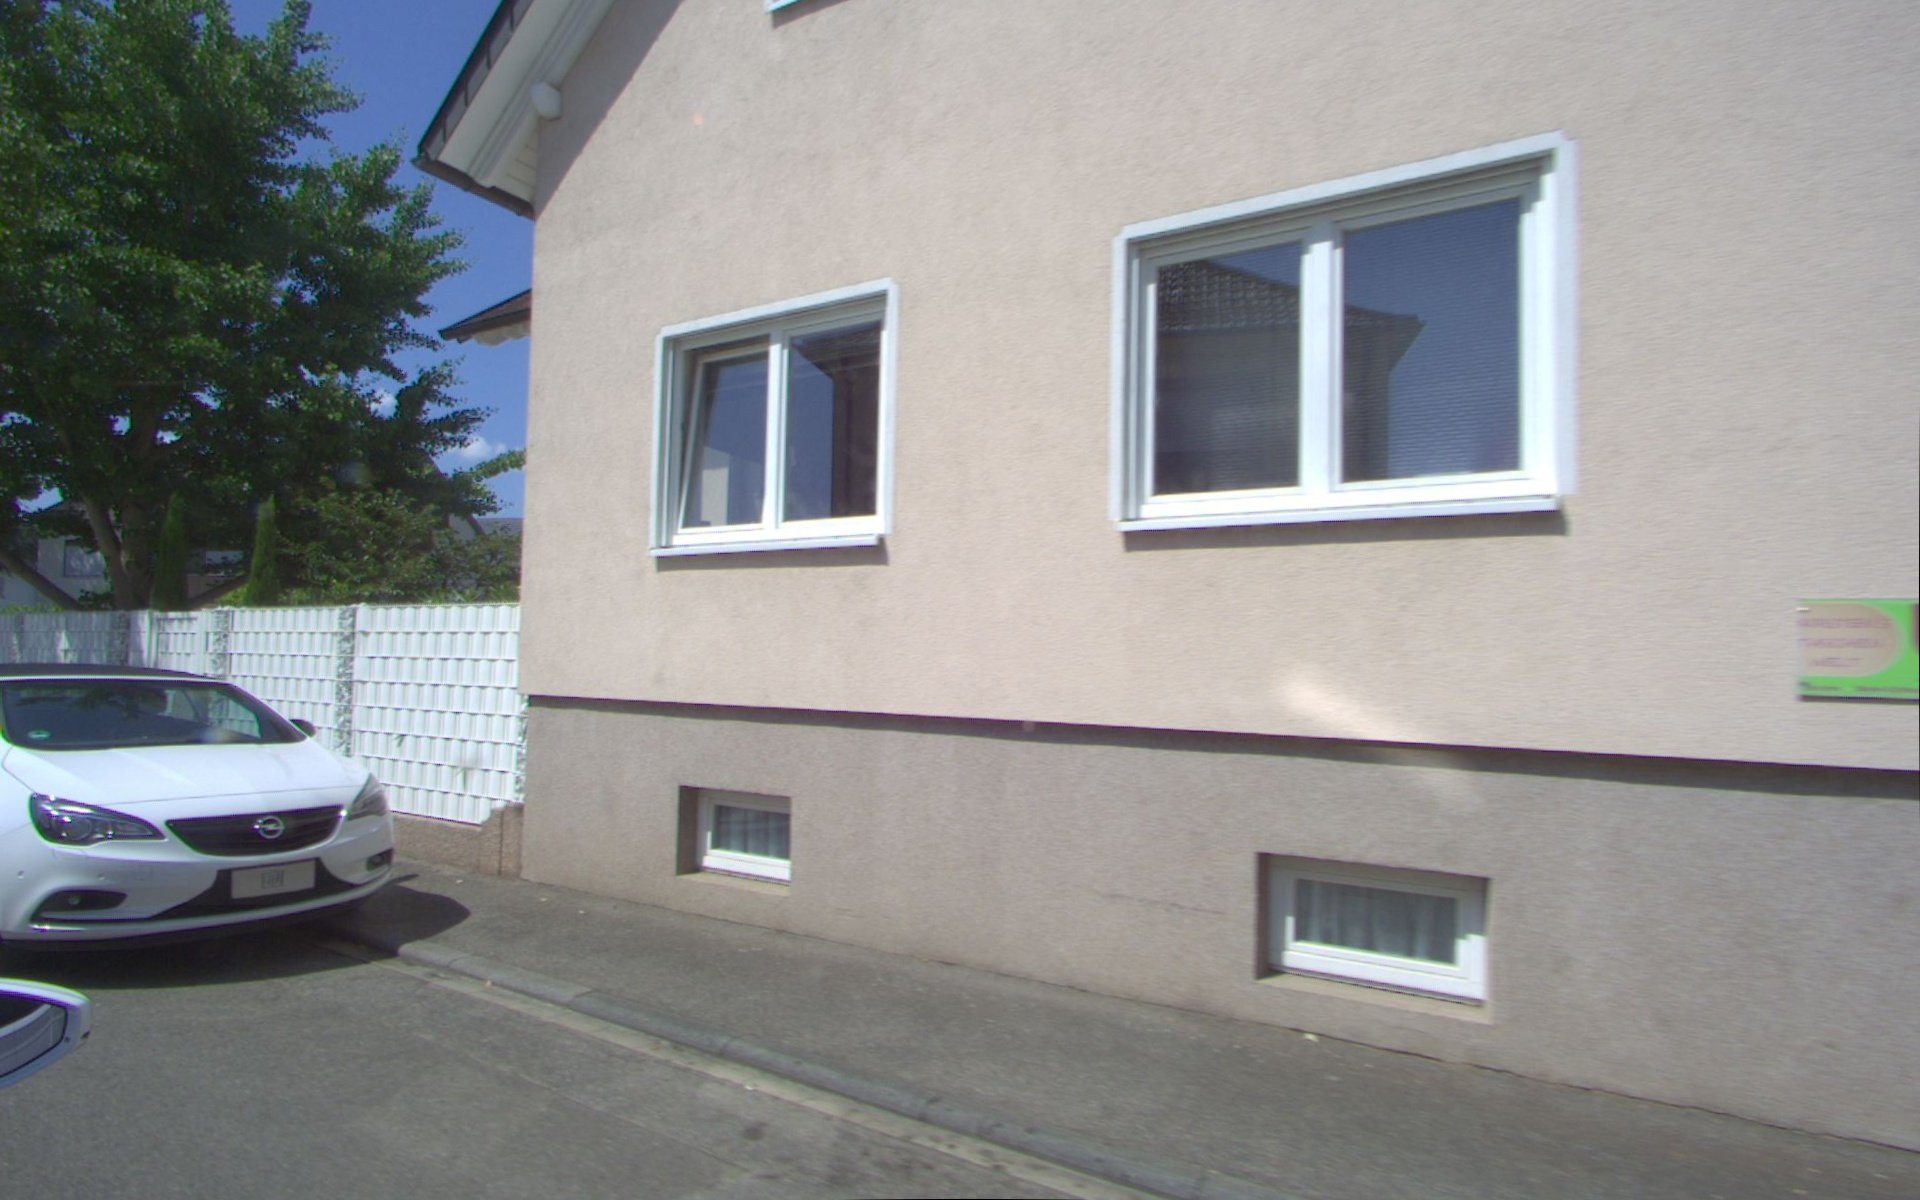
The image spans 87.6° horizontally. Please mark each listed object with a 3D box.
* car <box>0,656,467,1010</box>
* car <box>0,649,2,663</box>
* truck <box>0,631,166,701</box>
[{"bbox_3d":[-5.379,1.093,6.199,4.667,1.445,1.895,-1,-5,31],"label":"car"},{"bbox_3d":[-11.157,1.143,9.588,3.976,1.549,1.714,-1,-8,31],"label":"car"},{"bbox_3d":[-28.788,2.056,31.722,5.602,2.038,2.374,1,-4,7],"label":"truck"}]
